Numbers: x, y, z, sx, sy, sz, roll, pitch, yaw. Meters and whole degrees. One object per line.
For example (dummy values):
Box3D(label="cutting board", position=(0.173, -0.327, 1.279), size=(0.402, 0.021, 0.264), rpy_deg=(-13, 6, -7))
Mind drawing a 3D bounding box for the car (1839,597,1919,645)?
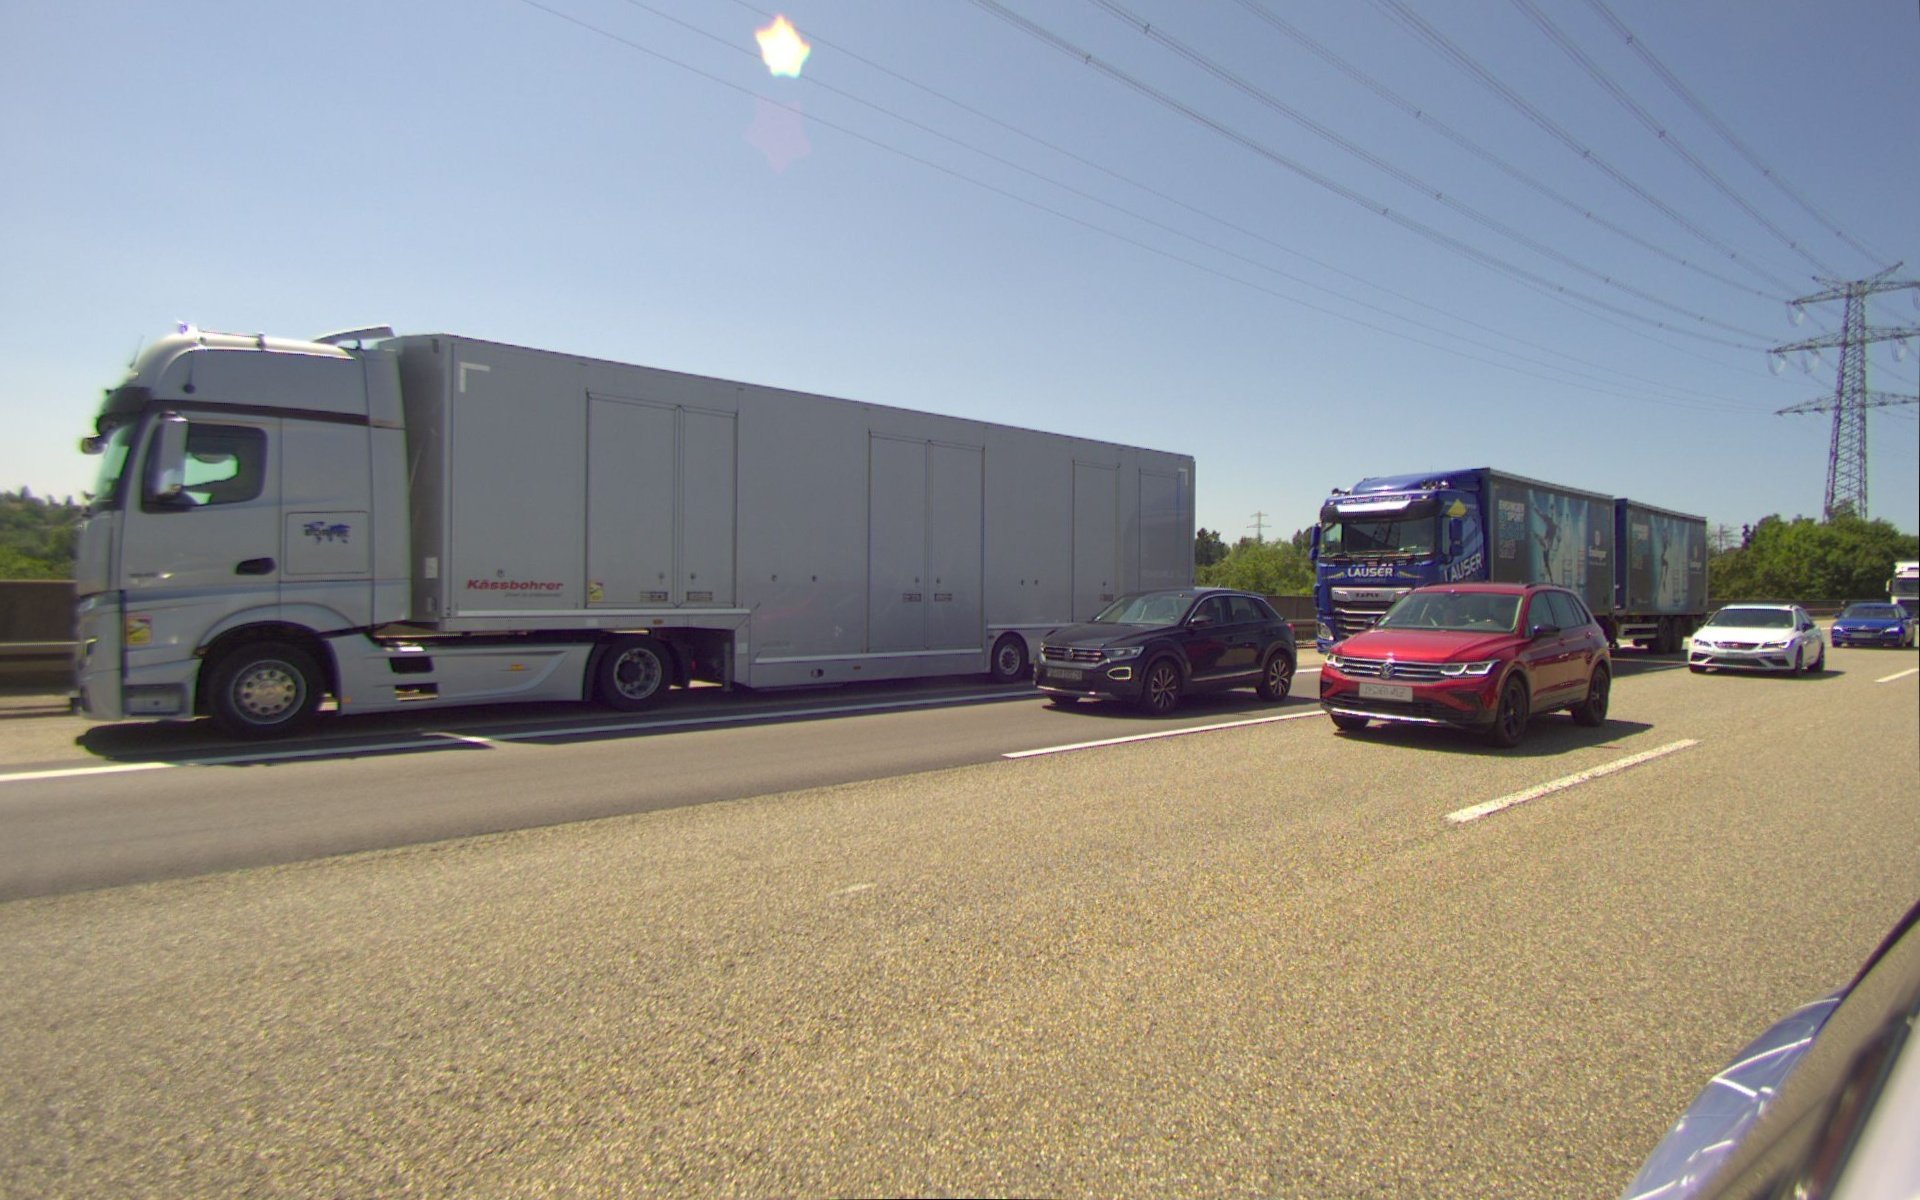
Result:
Box3D(label="car", position=(30.624, 0.650, 33.434), size=(4.135, 1.463, 1.739), rpy_deg=(0, 1, -40))

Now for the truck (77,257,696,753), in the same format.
Box3D(label="truck", position=(-6.140, -0.826, 11.336), size=(5.617, 4.171, 2.520), rpy_deg=(0, 1, -42))

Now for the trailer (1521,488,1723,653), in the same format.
Box3D(label="trailer", position=(18.609, -0.721, 28.198), size=(8.331, 3.995, 2.570), rpy_deg=(0, 0, -41))

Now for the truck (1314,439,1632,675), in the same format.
Box3D(label="truck", position=(11.558, -0.771, 22.043), size=(10.264, 4.118, 2.527), rpy_deg=(0, 0, -41))

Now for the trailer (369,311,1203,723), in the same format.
Box3D(label="trailer", position=(-1.231, -0.856, 15.736), size=(13.535, 4.172, 2.539), rpy_deg=(0, 0, -42))

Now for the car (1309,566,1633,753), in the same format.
Box3D(label="car", position=(5.744, 0.516, 11.158), size=(4.151, 1.683, 1.778), rpy_deg=(0, 1, -41))

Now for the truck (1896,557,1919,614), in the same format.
Box3D(label="truck", position=(65.224, -0.936, 67.523), size=(10.776, 3.604, 2.982), rpy_deg=(0, 0, -41))

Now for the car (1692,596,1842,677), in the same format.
Box3D(label="car", position=(16.758, 0.670, 20.951), size=(4.003, 1.508, 1.841), rpy_deg=(0, 0, -43))

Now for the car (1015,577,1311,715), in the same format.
Box3D(label="car", position=(2.773, 0.509, 13.333), size=(4.034, 1.546, 1.739), rpy_deg=(0, 0, -41))
